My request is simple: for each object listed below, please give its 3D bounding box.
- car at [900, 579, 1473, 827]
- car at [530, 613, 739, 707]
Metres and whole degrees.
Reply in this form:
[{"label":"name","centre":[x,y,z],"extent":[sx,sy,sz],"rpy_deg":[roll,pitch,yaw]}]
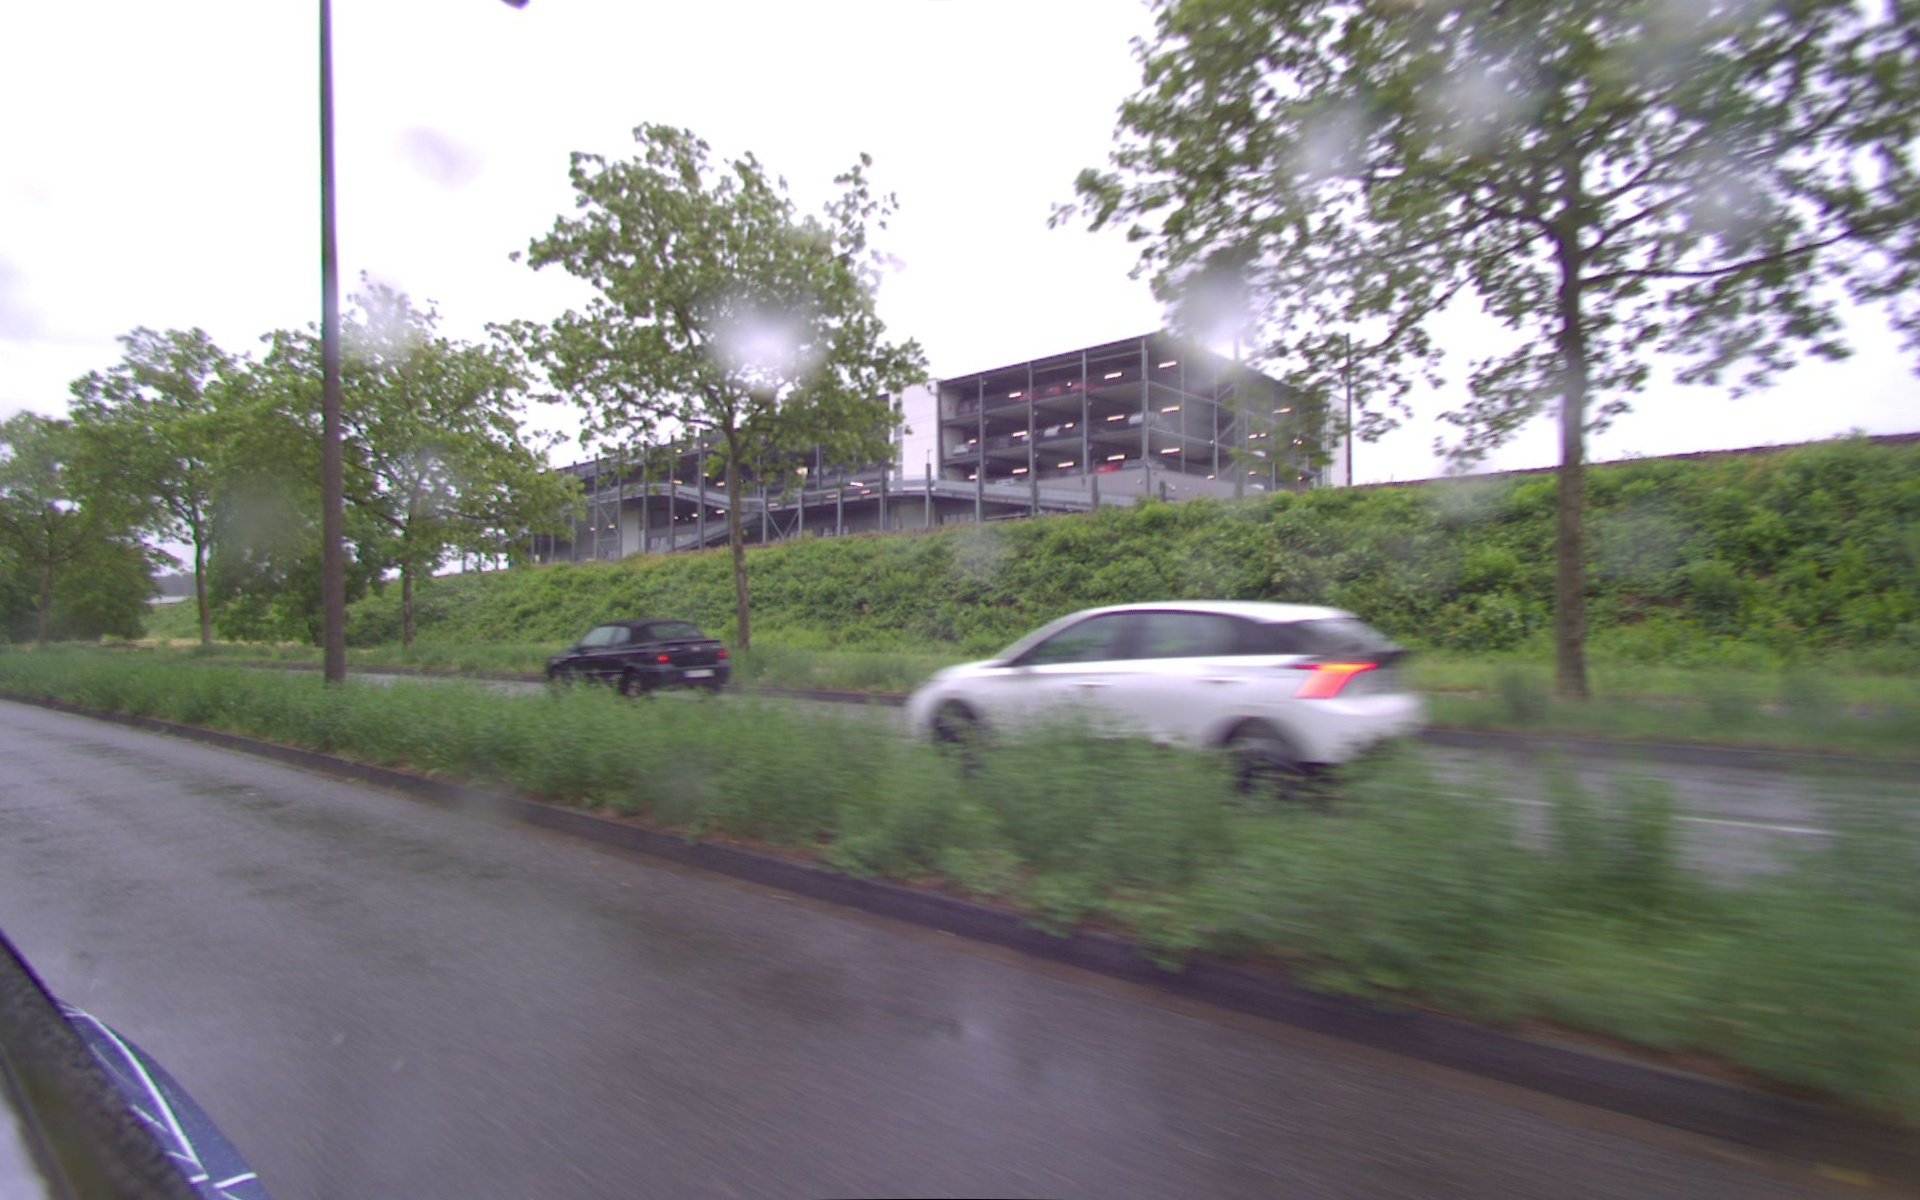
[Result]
[{"label":"car","centre":[1.621,0.677,8.169],"extent":[4.201,1.506,1.685],"rpy_deg":[-2,-1,40]},{"label":"car","centre":[-5.770,0.994,17.713],"extent":[3.997,1.437,1.615],"rpy_deg":[-2,-1,40]}]
